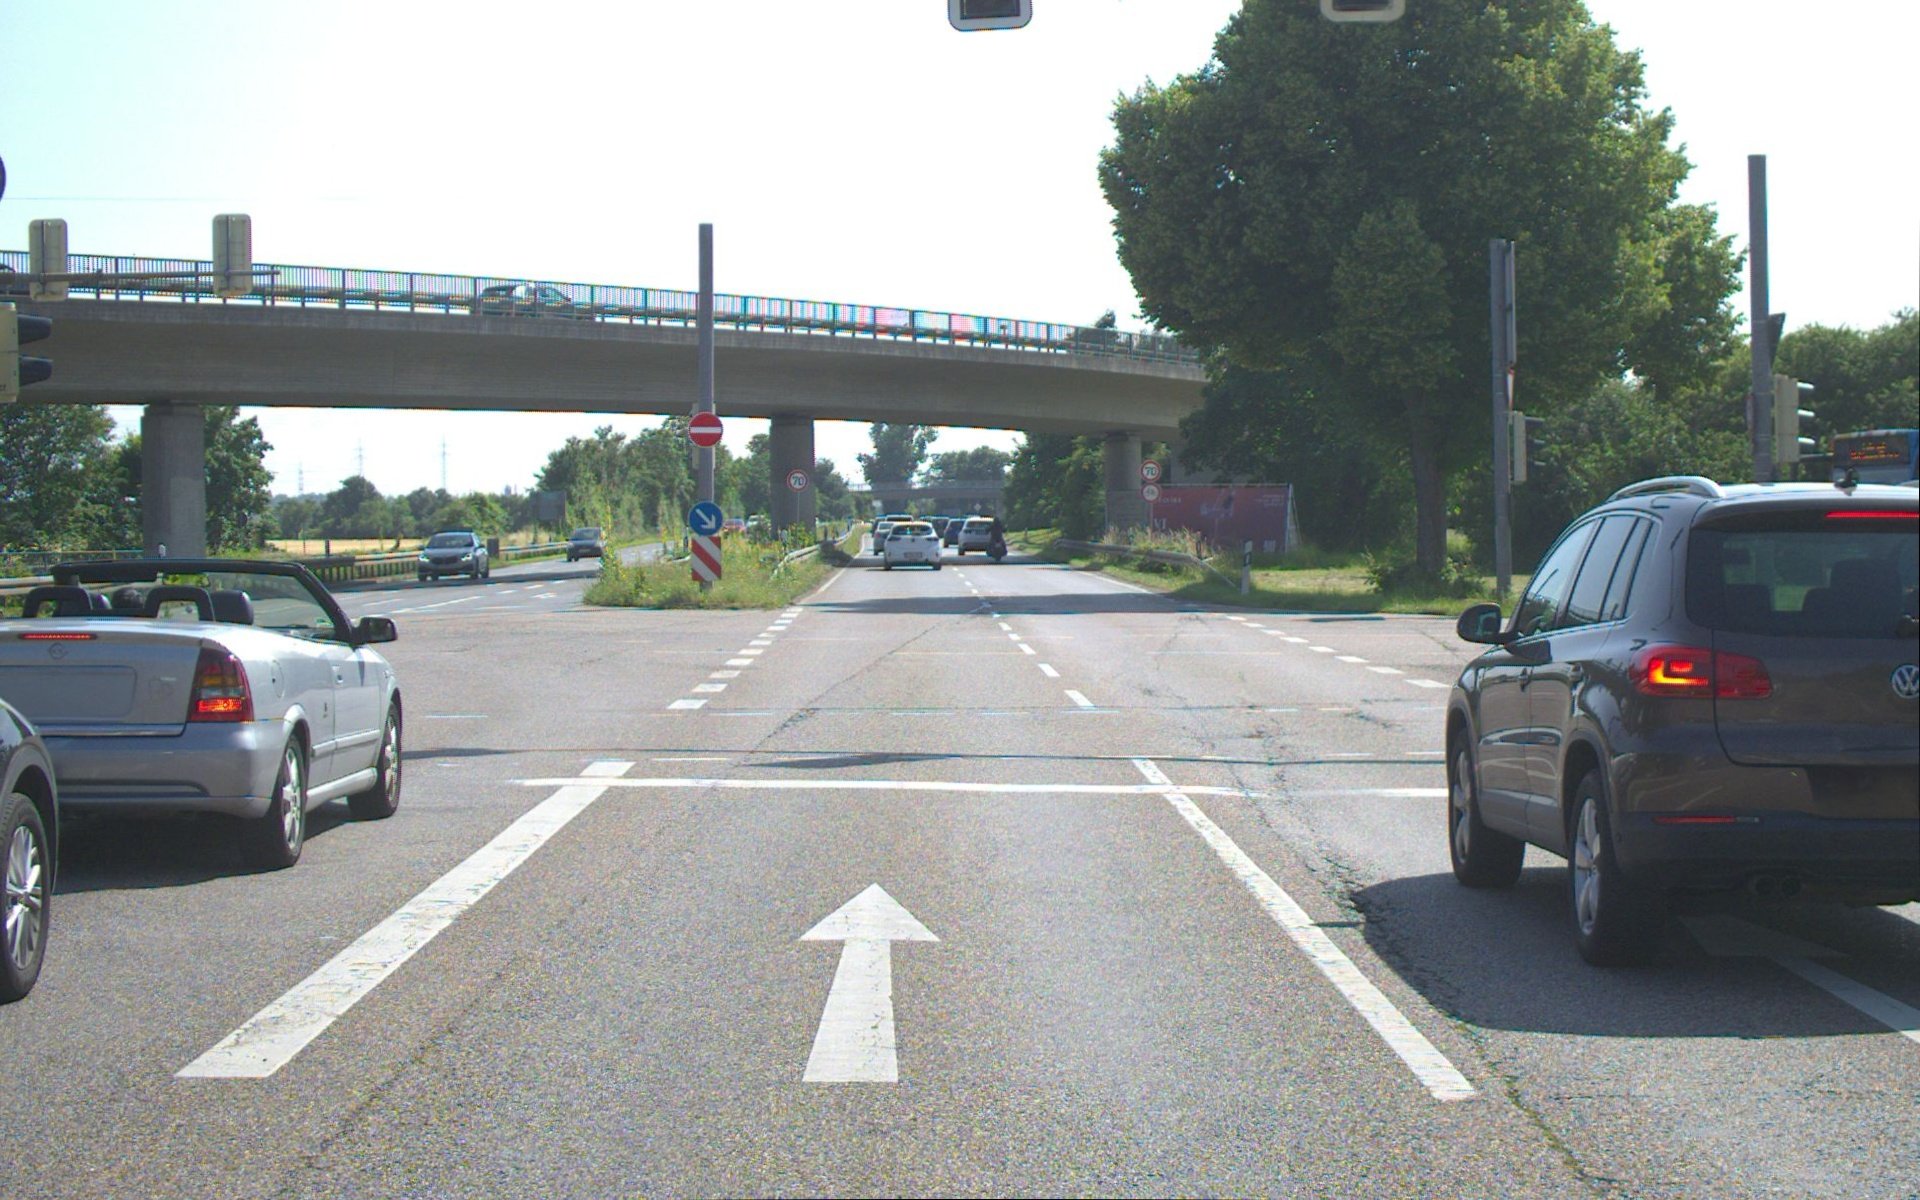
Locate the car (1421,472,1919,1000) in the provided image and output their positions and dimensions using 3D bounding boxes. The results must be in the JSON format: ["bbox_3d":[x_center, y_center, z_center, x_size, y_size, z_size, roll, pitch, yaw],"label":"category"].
[{"bbox_3d":[2.951,0.393,12.919,1.755,1.650,4.147,1,1,-1],"label":"car"}]

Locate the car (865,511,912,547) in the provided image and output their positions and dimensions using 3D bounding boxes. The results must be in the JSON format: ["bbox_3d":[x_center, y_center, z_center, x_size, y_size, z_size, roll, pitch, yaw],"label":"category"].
[{"bbox_3d":[-3.049,-3.049,146.679,1.873,1.487,4.000,0,1,1],"label":"car"}]

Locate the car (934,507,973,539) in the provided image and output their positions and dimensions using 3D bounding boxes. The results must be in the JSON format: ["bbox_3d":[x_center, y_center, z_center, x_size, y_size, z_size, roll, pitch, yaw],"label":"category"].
[{"bbox_3d":[-0.379,-4.159,185.808,1.993,1.626,4.000,2,1,-1],"label":"car"}]

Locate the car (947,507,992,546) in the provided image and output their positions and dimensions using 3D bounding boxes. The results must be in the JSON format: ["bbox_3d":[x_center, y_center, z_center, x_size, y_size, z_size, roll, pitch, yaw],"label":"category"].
[{"bbox_3d":[0.425,-3.228,150.021,1.873,1.634,4.000,1,1,1],"label":"car"}]

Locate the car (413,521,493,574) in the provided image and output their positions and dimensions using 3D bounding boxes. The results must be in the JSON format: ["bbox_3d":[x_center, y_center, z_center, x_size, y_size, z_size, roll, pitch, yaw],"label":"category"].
[{"bbox_3d":[-15.642,-1.640,106.188,1.882,1.510,4.148,-3,1,-2],"label":"car"}]

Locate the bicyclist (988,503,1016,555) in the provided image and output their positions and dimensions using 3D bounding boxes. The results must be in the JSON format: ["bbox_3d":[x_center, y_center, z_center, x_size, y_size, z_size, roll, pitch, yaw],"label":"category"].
[{"bbox_3d":[1.535,-2.622,126.121,1.007,1.880,1.327,-1,1,1],"label":"bicyclist"}]

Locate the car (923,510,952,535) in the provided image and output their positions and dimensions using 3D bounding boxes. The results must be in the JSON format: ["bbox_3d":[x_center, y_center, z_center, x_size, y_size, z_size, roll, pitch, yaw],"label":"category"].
[{"bbox_3d":[-1.605,-5.530,244.724,1.993,1.650,4.000,2,1,0],"label":"car"}]

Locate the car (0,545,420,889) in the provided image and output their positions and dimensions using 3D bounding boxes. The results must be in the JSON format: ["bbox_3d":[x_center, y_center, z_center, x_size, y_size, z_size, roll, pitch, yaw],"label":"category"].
[{"bbox_3d":[-3.645,0.441,15.880,1.673,1.330,4.098,0,2,0],"label":"car"}]

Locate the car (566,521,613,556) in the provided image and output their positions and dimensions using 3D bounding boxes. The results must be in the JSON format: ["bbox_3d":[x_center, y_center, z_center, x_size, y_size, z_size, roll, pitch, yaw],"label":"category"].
[{"bbox_3d":[-16.211,-2.688,150.490,1.614,1.437,3.776,-3,1,-1],"label":"car"}]

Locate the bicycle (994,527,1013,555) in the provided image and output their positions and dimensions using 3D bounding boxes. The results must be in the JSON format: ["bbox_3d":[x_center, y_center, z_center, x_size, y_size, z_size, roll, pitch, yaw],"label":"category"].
[{"bbox_3d":[1.591,-2.169,125.911,0.600,0.979,2.361,-1,1,0],"label":"bicycle"}]

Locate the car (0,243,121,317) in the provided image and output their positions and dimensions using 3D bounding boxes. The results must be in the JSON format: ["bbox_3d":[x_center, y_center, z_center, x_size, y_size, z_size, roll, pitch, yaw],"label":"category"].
[{"bbox_3d":[-20.963,-7.317,78.763,1.322,1.481,3.190,0,2,39],"label":"car"}]

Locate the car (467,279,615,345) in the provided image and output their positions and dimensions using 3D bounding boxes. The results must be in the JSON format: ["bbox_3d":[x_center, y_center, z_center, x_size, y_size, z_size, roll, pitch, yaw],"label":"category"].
[{"bbox_3d":[-11.439,-7.859,94.150,1.997,1.481,3.993,2,1,30],"label":"car"}]

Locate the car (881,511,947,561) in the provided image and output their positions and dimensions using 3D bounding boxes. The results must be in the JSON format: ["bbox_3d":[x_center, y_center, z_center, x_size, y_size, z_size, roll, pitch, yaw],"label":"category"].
[{"bbox_3d":[-1.359,-1.933,103.292,1.851,1.456,4.000,1,1,1],"label":"car"}]

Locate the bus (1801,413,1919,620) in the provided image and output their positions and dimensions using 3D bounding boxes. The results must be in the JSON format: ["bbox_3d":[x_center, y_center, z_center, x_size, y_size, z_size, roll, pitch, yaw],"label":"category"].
[{"bbox_3d":[18.530,-1.332,50.712,11.935,2.867,2.943,-1,1,-15],"label":"bus"}]

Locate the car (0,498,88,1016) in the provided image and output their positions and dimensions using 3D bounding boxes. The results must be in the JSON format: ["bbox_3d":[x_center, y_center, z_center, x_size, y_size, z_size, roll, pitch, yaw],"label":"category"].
[{"bbox_3d":[-3.721,0.495,9.238,1.728,1.542,4.098,0,2,0],"label":"car"}]
